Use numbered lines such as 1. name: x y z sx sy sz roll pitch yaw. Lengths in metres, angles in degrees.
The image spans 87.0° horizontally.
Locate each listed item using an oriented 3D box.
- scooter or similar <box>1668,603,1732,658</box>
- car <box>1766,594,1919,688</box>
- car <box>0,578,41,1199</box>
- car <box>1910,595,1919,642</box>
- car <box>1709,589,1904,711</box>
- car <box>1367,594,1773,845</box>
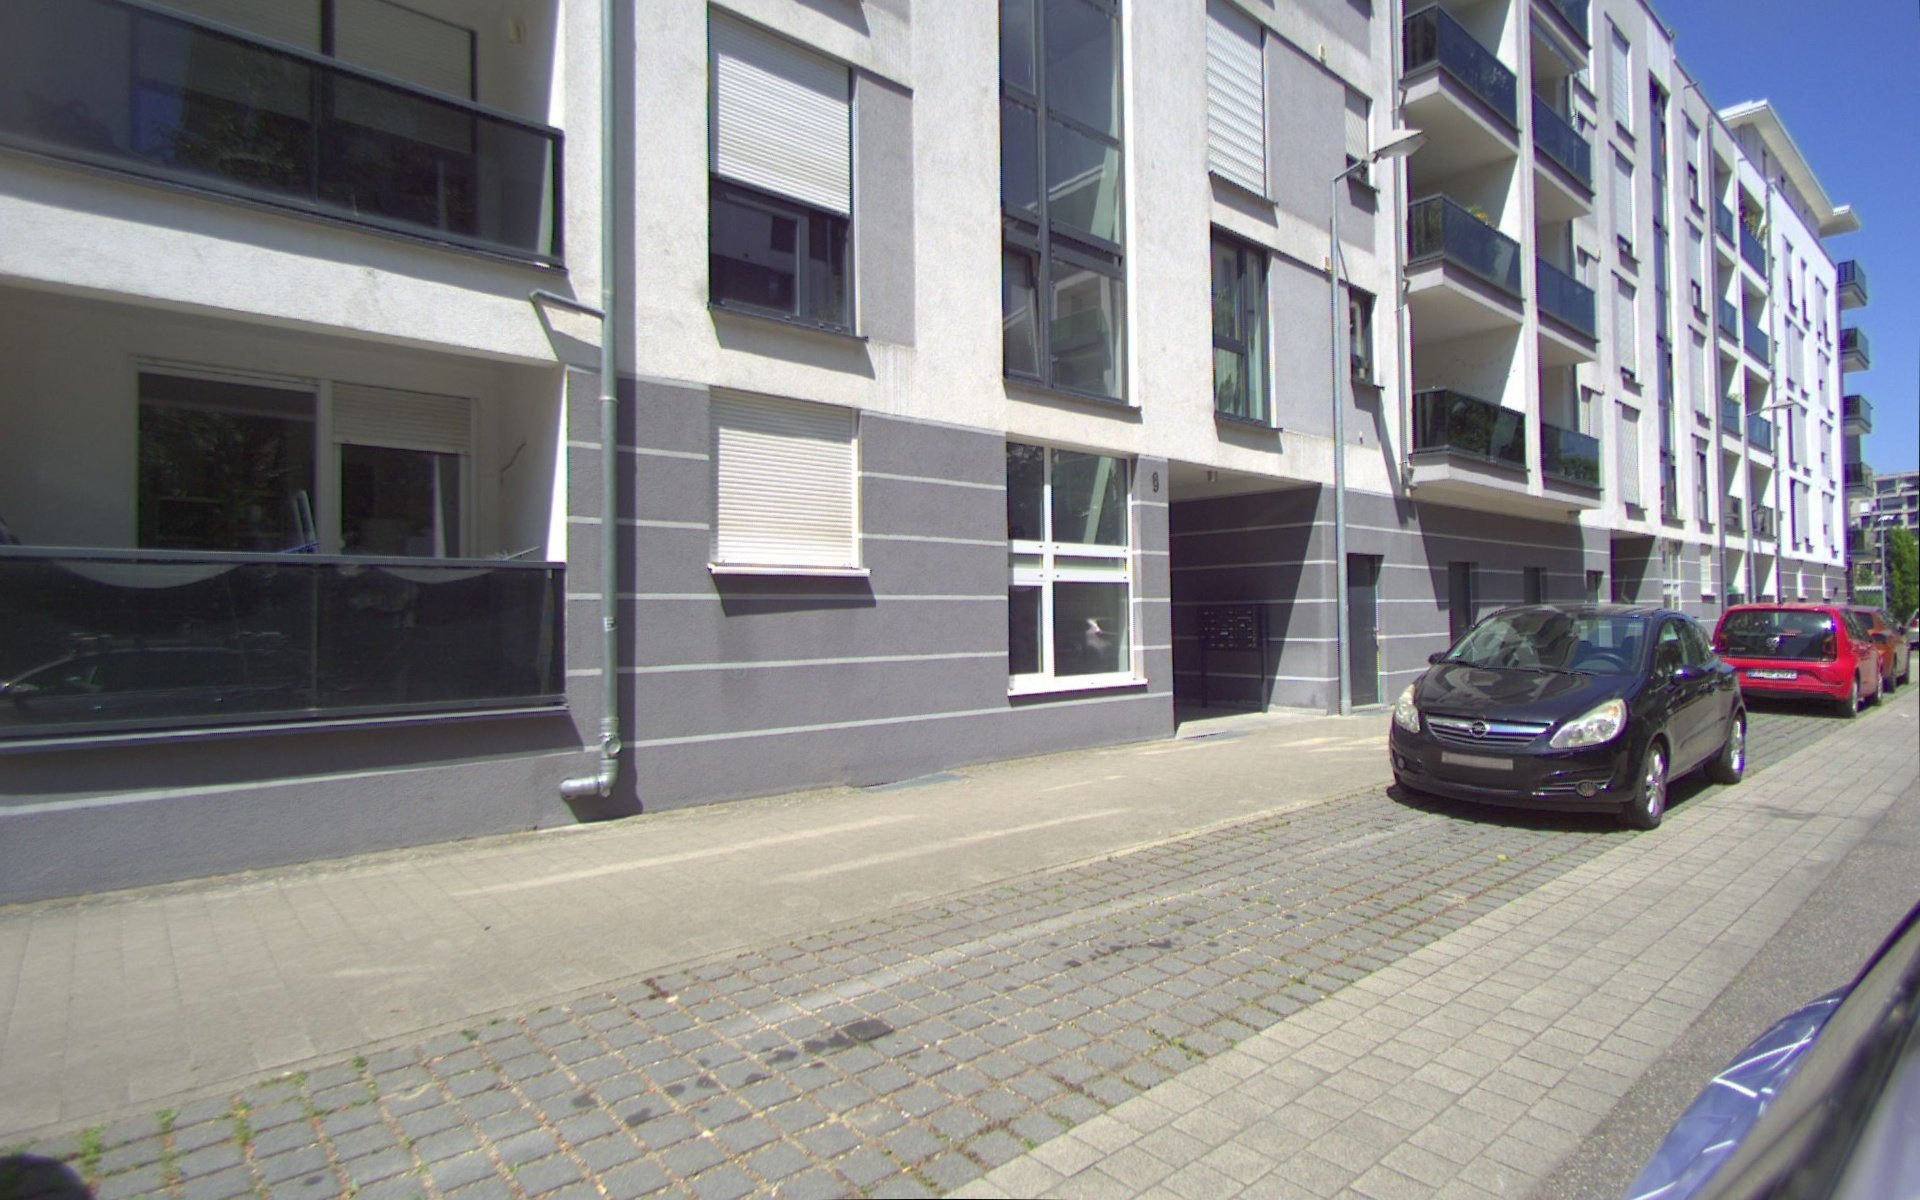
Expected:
1. scooter or similar: 17.415 0.714 23.802 1.498 1.241 0.548 0 -2 -26
2. car: 16.021 0.639 18.159 4.184 1.506 1.740 0 0 -41
3. car: -3.484 0.731 0.613 4.275 1.524 1.837 0 0 -41
4. car: 31.596 0.546 31.950 4.348 1.434 1.848 -1 -1 -41
5. car: 12.093 0.611 14.383 3.611 1.504 1.598 0 0 -41
6. car: 4.949 0.696 7.969 4.047 1.481 1.645 0 0 -42
